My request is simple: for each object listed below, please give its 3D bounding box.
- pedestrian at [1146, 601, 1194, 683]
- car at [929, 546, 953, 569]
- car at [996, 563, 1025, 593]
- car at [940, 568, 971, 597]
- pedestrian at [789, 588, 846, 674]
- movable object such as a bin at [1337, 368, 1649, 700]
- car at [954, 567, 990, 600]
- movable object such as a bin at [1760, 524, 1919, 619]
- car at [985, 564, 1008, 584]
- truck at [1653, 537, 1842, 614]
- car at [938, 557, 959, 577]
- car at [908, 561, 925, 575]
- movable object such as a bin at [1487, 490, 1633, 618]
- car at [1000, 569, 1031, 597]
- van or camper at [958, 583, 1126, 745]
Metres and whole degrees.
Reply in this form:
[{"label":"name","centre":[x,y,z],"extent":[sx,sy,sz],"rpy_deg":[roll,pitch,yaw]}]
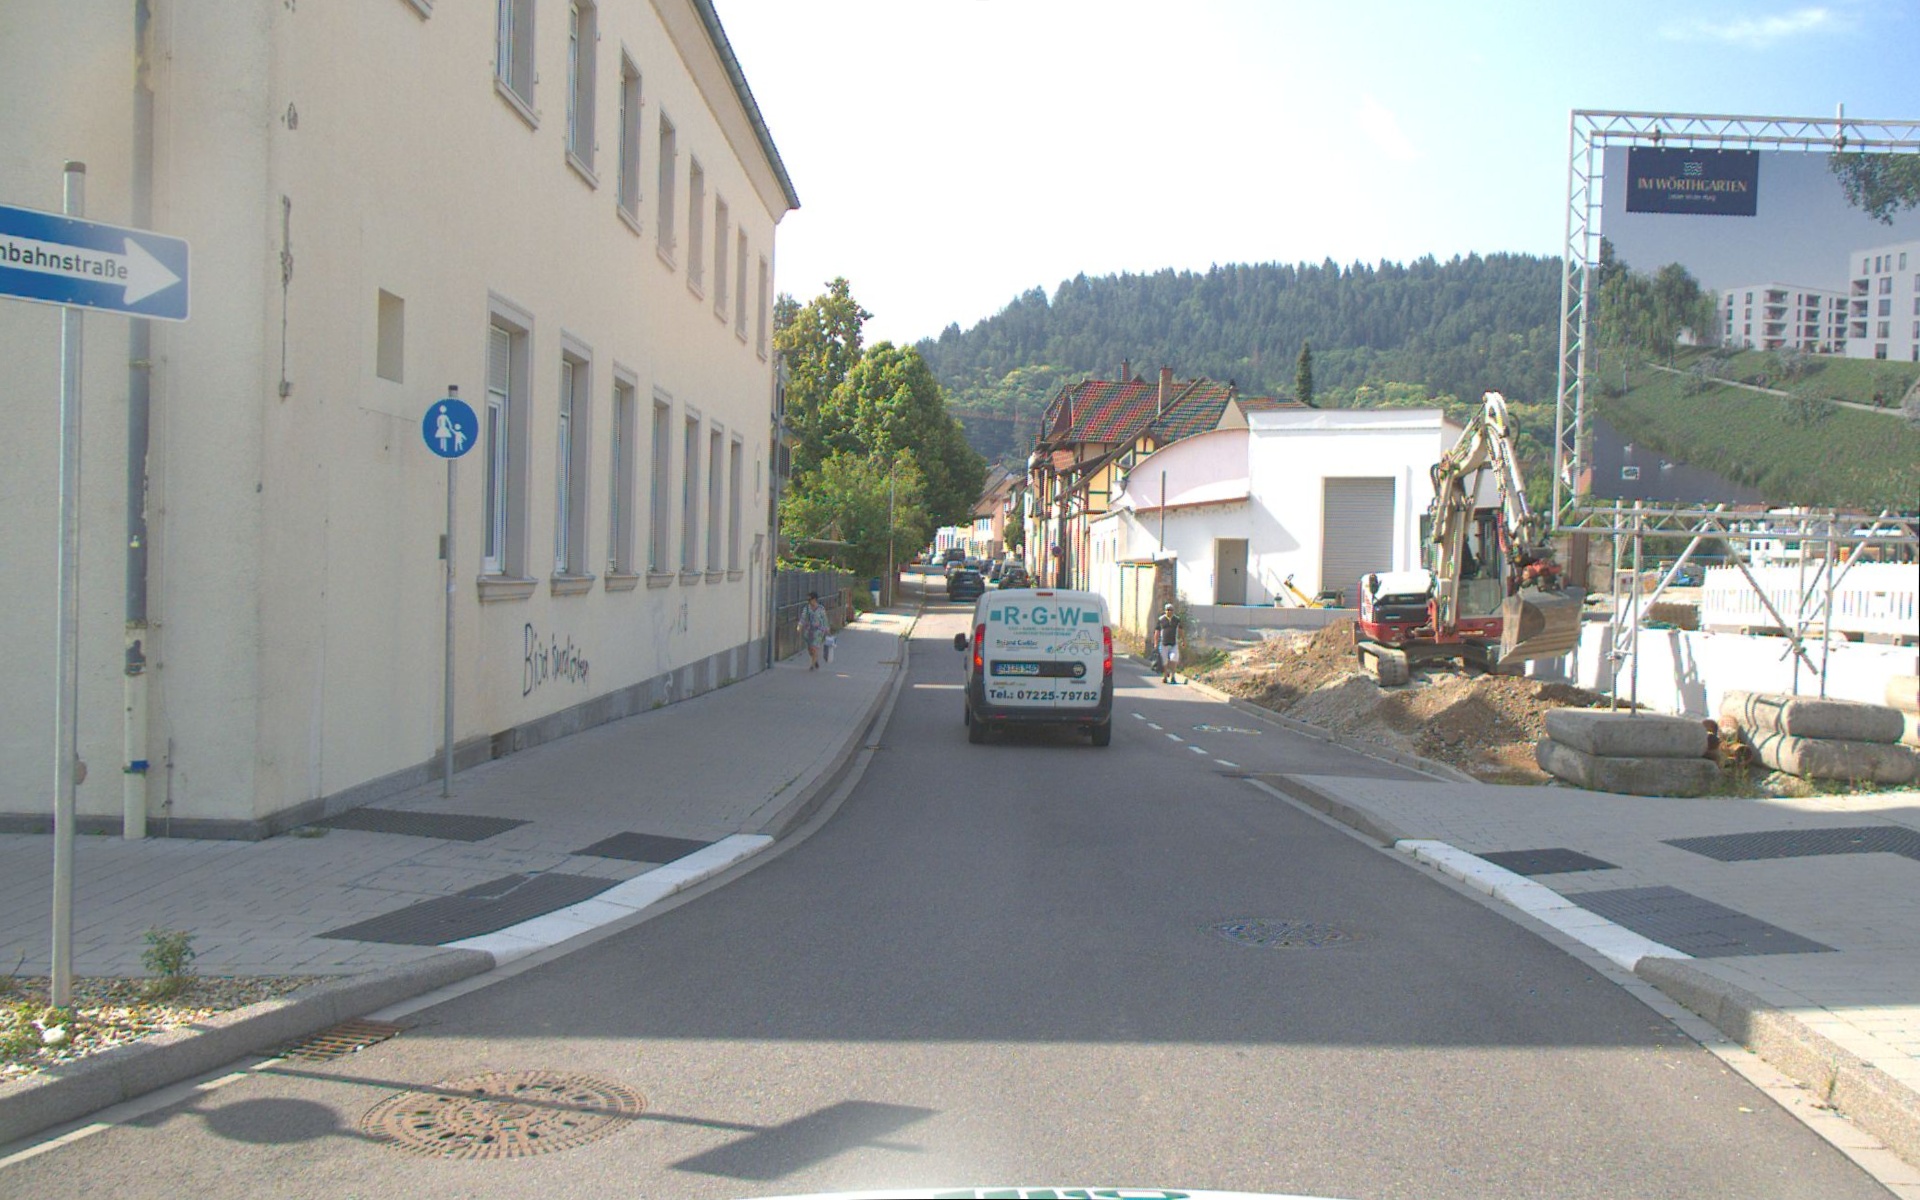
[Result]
[{"label":"pedestrian","centre":[4.571,0.912,36.079],"extent":[0.870,1.712,0.718],"rpy_deg":[3,0,-1]},{"label":"car","centre":[-2.496,-5.474,214.783],"extent":[2.817,2.885,6.122],"rpy_deg":[1,1,-2]},{"label":"car","centre":[3.558,-1.589,117.898],"extent":[1.833,2.048,4.000],"rpy_deg":[2,1,-1]},{"label":"car","centre":[-0.307,-1.137,106.347],"extent":[1.774,1.624,3.926],"rpy_deg":[4,2,-2]},{"label":"pedestrian","centre":[-2.938,0.625,34.149],"extent":[0.939,1.658,0.758],"rpy_deg":[6,0,-1]},{"label":"movable object such as a bin","centre":[7.396,-0.854,24.115],"extent":[2.247,3.920,7.802],"rpy_deg":[4,1,3]},{"label":"car","centre":[0.620,-0.914,89.749],"extent":[1.774,1.624,3.927],"rpy_deg":[4,2,-1]},{"label":"movable object such as a bin","centre":[25.325,-0.792,47.132],"extent":[4.521,2.614,1.924],"rpy_deg":[0,0,25]},{"label":"car","centre":[2.972,-2.132,134.650],"extent":[1.636,1.534,3.999],"rpy_deg":[1,1,-2]},{"label":"truck","centre":[24.455,-0.757,51.504],"extent":[5.210,2.305,2.217],"rpy_deg":[0,0,26]},{"label":"car","centre":[-1.013,-2.934,147.562],"extent":[1.774,1.624,3.927],"rpy_deg":[4,2,0]},{"label":"car","centre":[-6.007,-4.450,227.808],"extent":[1.740,1.830,3.989],"rpy_deg":[1,1,-12]},{"label":"movable object such as a bin","centre":[18.916,-1.388,51.982],"extent":[2.801,3.684,5.717],"rpy_deg":[5,2,34]},{"label":"car","centre":[3.578,-1.131,107.727],"extent":[1.774,1.624,3.927],"rpy_deg":[4,2,0]},{"label":"van or camper","centre":[0.958,0.775,21.384],"extent":[1.791,1.877,4.186],"rpy_deg":[0,-1,-2]}]
